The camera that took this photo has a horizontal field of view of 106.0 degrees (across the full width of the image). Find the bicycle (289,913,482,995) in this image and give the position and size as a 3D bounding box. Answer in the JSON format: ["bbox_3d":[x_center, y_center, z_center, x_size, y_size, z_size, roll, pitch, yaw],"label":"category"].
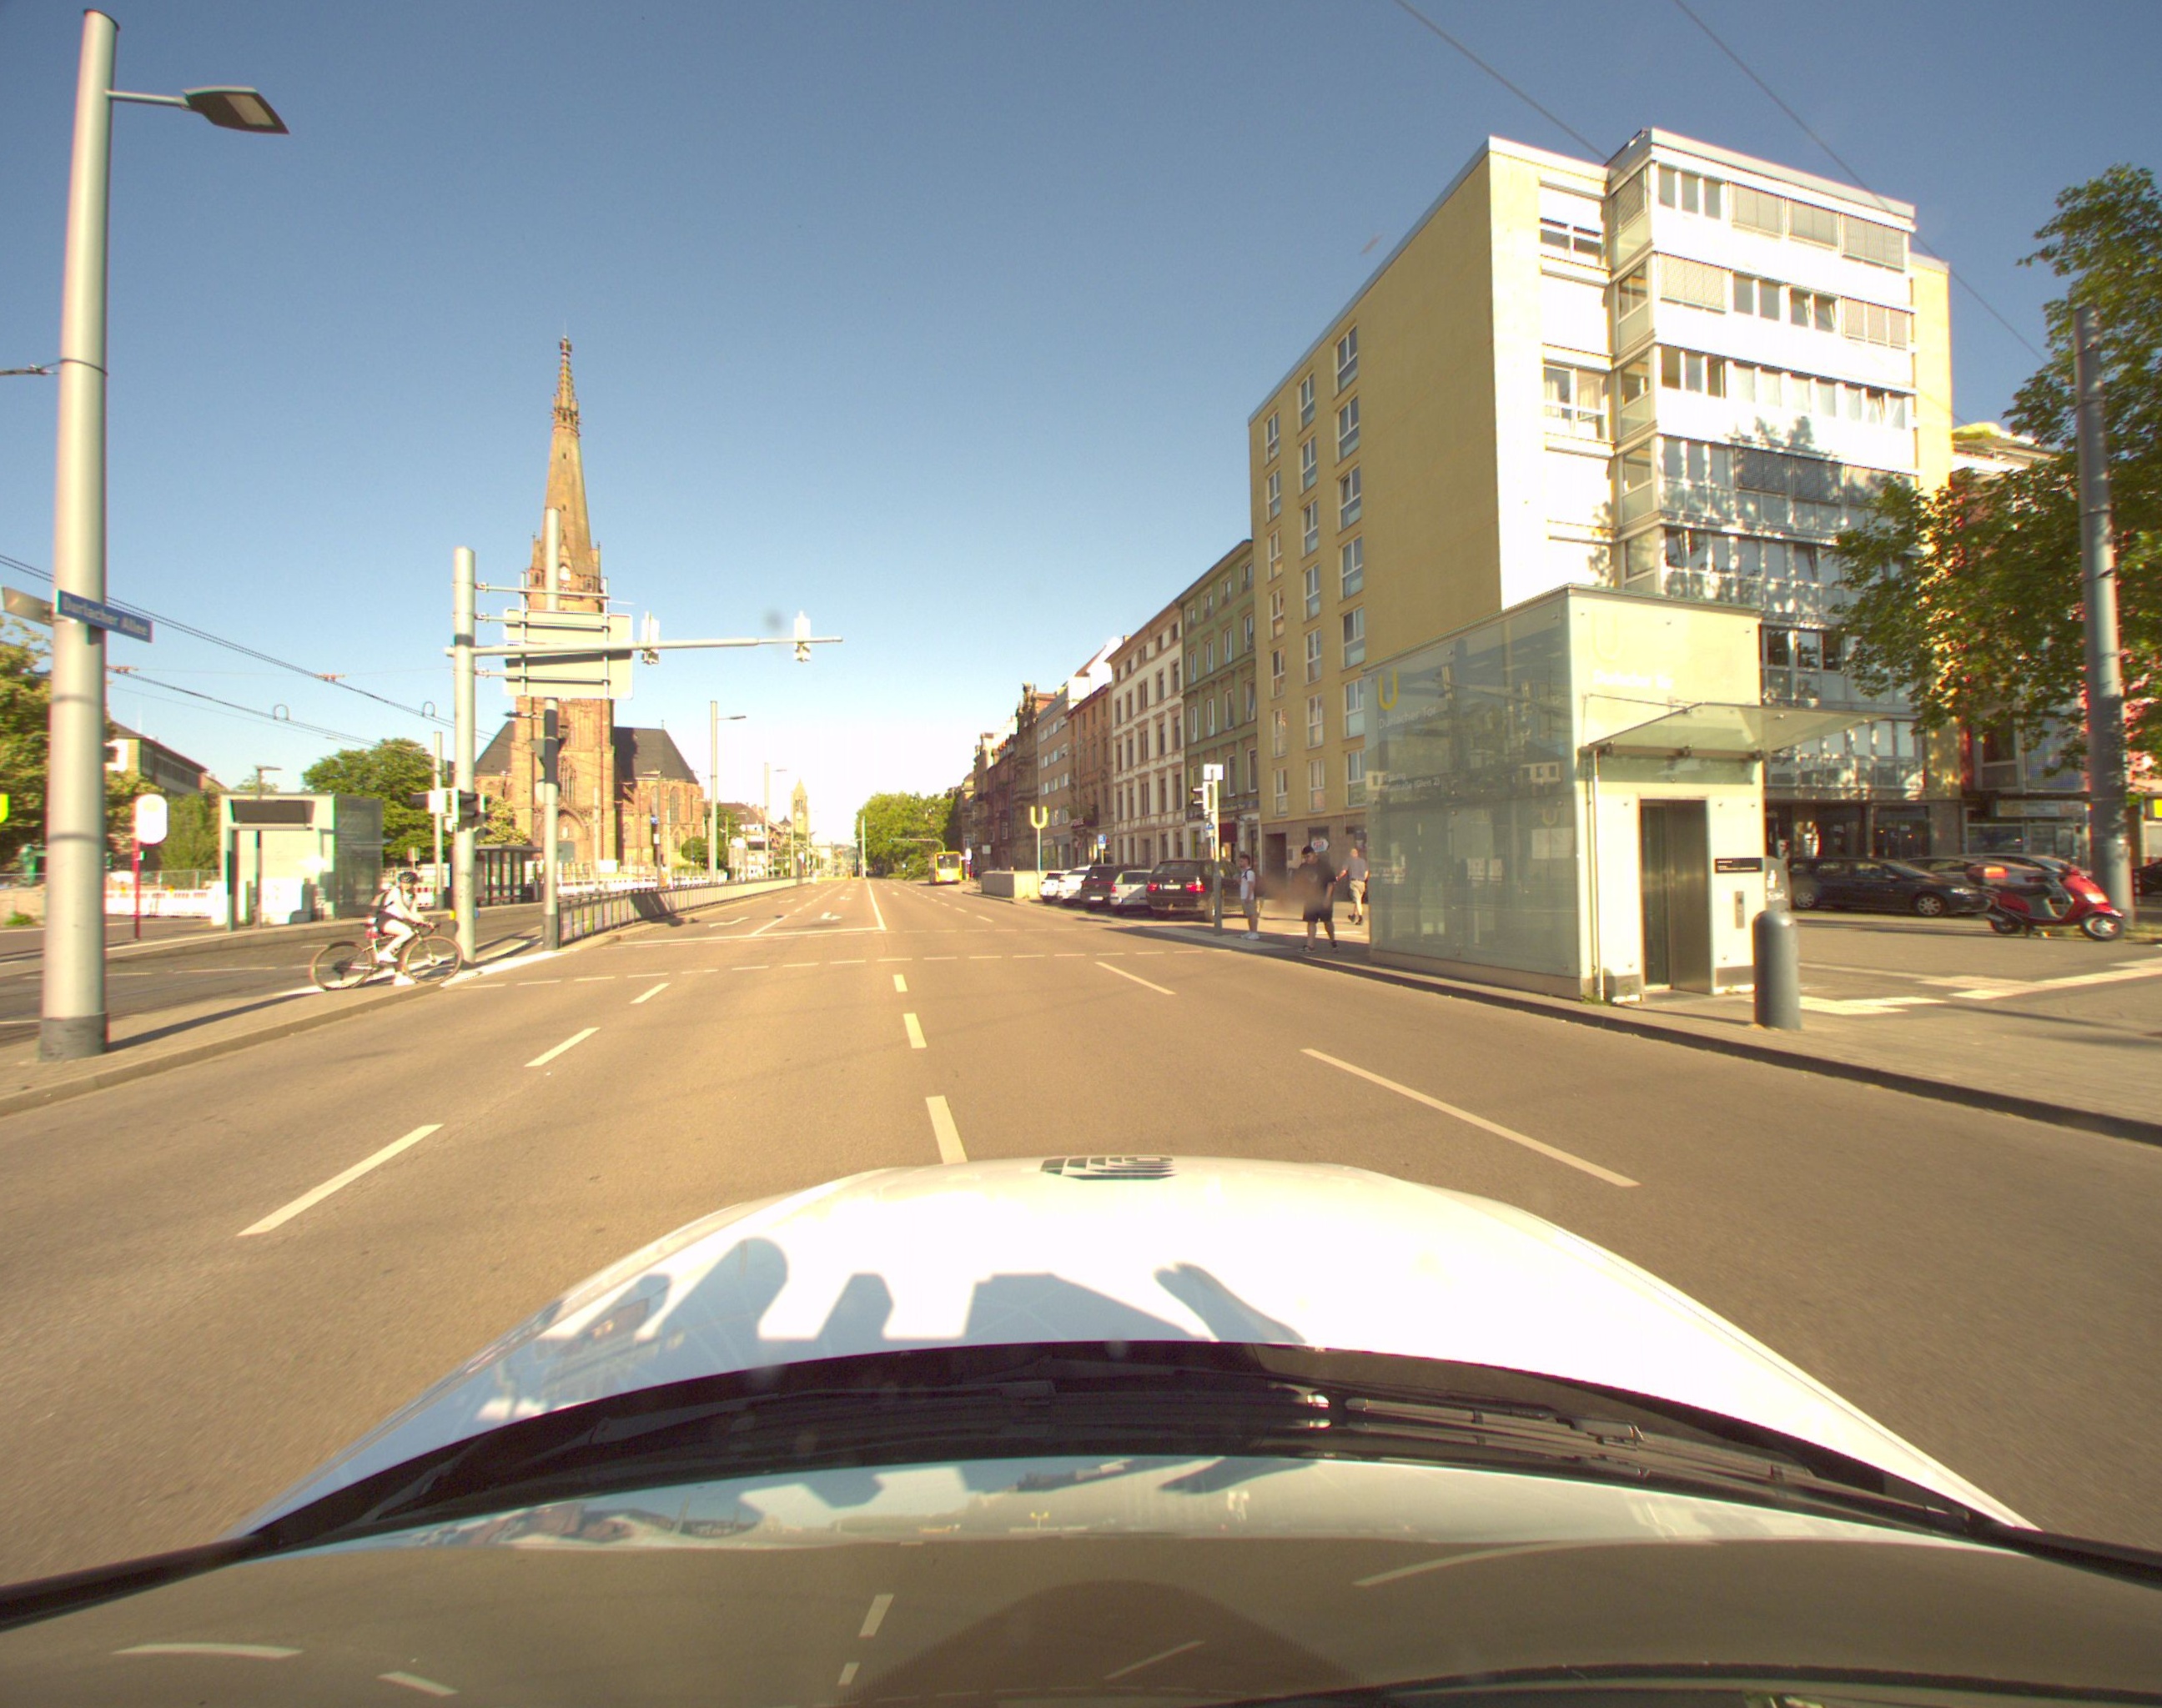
[{"bbox_3d":[-9.821,1.387,11.591,1.895,0.942,0.810,-2,-1,-20],"label":"bicycle"}]

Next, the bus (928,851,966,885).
[{"bbox_3d":[-14.220,1.503,85.593,2.720,3.181,12.475,-2,-1,-15],"label":"bus"}]

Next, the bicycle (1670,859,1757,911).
[{"bbox_3d":[16.269,0.784,20.940,1.999,1.200,0.810,-2,-1,-21],"label":"bicycle"}]

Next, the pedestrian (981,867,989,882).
[{"bbox_3d":[-12.742,2.673,108.104,0.823,1.930,1.131,-1,-1,-15],"label":"pedestrian"}]

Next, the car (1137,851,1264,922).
[{"bbox_3d":[3.525,0.885,23.330,1.935,1.814,4.278,-1,-1,34],"label":"car"}]

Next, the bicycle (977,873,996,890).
[{"bbox_3d":[-6.692,1.906,57.482,0.472,1.147,1.750,0,0,-38],"label":"bicycle"}]

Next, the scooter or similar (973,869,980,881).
[{"bbox_3d":[-11.485,2.310,89.527,0.433,1.249,1.284,-2,-2,-24],"label":"scooter or similar"}]

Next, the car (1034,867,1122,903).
[{"bbox_3d":[-0.062,1.354,36.493,1.936,1.464,4.139,-2,-1,33],"label":"car"}]

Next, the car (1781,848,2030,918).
[{"bbox_3d":[21.217,0.666,21.208,1.855,1.482,4.202,-2,2,-18],"label":"car"}]

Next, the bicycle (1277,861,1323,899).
[{"bbox_3d":[8.888,1.026,33.152,0.930,1.357,2.220,-2,2,-11],"label":"bicycle"}]

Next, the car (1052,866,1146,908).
[{"bbox_3d":[0.796,1.272,32.950,1.935,1.570,4.277,0,-1,31],"label":"car"}]

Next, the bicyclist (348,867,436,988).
[{"bbox_3d":[-9.803,1.014,11.615,0.676,1.616,0.810,-2,-1,-20],"label":"bicyclist"}]

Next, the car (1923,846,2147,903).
[{"bbox_3d":[28.409,0.549,24.454,1.853,1.420,3.981,-2,2,-14],"label":"car"}]

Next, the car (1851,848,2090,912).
[{"bbox_3d":[23.747,0.621,21.973,1.853,1.420,3.981,-2,2,-14],"label":"car"}]

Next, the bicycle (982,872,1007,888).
[{"bbox_3d":[-6.460,1.925,60.937,1.768,1.187,0.467,0,0,-16],"label":"bicycle"}]

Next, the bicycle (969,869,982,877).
[{"bbox_3d":[-16.501,2.954,127.102,1.894,1.239,0.486,-2,-2,-28],"label":"bicycle"}]

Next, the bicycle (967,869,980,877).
[{"bbox_3d":[-16.890,3.030,128.184,1.894,1.239,0.486,-2,-2,-28],"label":"bicycle"}]

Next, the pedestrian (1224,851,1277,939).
[{"bbox_3d":[3.440,0.818,16.580,0.700,1.728,0.745,0,-1,-31],"label":"pedestrian"}]

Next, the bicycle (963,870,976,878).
[{"bbox_3d":[-17.708,3.187,129.615,1.894,1.239,0.486,-2,-2,-28],"label":"bicycle"}]

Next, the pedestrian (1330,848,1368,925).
[{"bbox_3d":[6.730,0.802,20.429,0.689,1.866,0.758,-2,-1,33],"label":"pedestrian"}]

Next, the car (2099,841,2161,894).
[{"bbox_3d":[35.762,0.454,25.810,1.853,1.635,3.981,-2,2,-14],"label":"car"}]

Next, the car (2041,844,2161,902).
[{"bbox_3d":[32.647,0.562,24.839,1.853,1.635,3.981,-2,2,-14],"label":"car"}]

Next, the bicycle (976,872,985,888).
[{"bbox_3d":[-7.428,1.927,60.070,0.469,1.147,1.762,0,0,-15],"label":"bicycle"}]

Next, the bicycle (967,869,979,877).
[{"bbox_3d":[-17.072,3.014,128.741,1.894,1.239,0.486,-2,-2,-28],"label":"bicycle"}]

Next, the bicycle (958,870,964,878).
[{"bbox_3d":[-19.255,3.177,130.923,0.491,1.239,1.874,-2,-2,-24],"label":"bicycle"}]

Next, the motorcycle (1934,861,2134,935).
[{"bbox_3d":[14.854,0.673,12.767,0.880,1.046,1.793,-2,-2,-17],"label":"motorcycle"}]

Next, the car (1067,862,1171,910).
[{"bbox_3d":[1.458,1.093,29.437,1.935,1.598,4.277,-1,-1,32],"label":"car"}]

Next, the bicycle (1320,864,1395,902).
[{"bbox_3d":[9.894,1.012,29.283,0.987,1.264,3.044,-1,-1,-16],"label":"bicycle"}]

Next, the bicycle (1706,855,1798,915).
[{"bbox_3d":[16.442,0.741,19.957,1.999,1.345,0.810,-2,-1,-21],"label":"bicycle"}]

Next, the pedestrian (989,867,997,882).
[{"bbox_3d":[-11.620,2.668,107.699,0.823,1.930,1.131,-1,-1,-15],"label":"pedestrian"}]

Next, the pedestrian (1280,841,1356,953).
[{"bbox_3d":[3.794,0.665,13.054,0.859,1.728,0.800,-2,-1,43],"label":"pedestrian"}]

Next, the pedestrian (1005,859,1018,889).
[{"bbox_3d":[-4.740,1.374,55.609,0.752,2.013,0.694,-2,2,-15],"label":"pedestrian"}]

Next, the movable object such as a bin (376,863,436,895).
[{"bbox_3d":[-39.304,1.405,47.523,1.175,1.586,3.845,-2,2,-16],"label":"movable object such as a bin"}]

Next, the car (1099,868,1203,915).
[{"bbox_3d":[2.327,1.175,26.044,1.766,1.400,3.916,0,-2,31],"label":"car"}]
